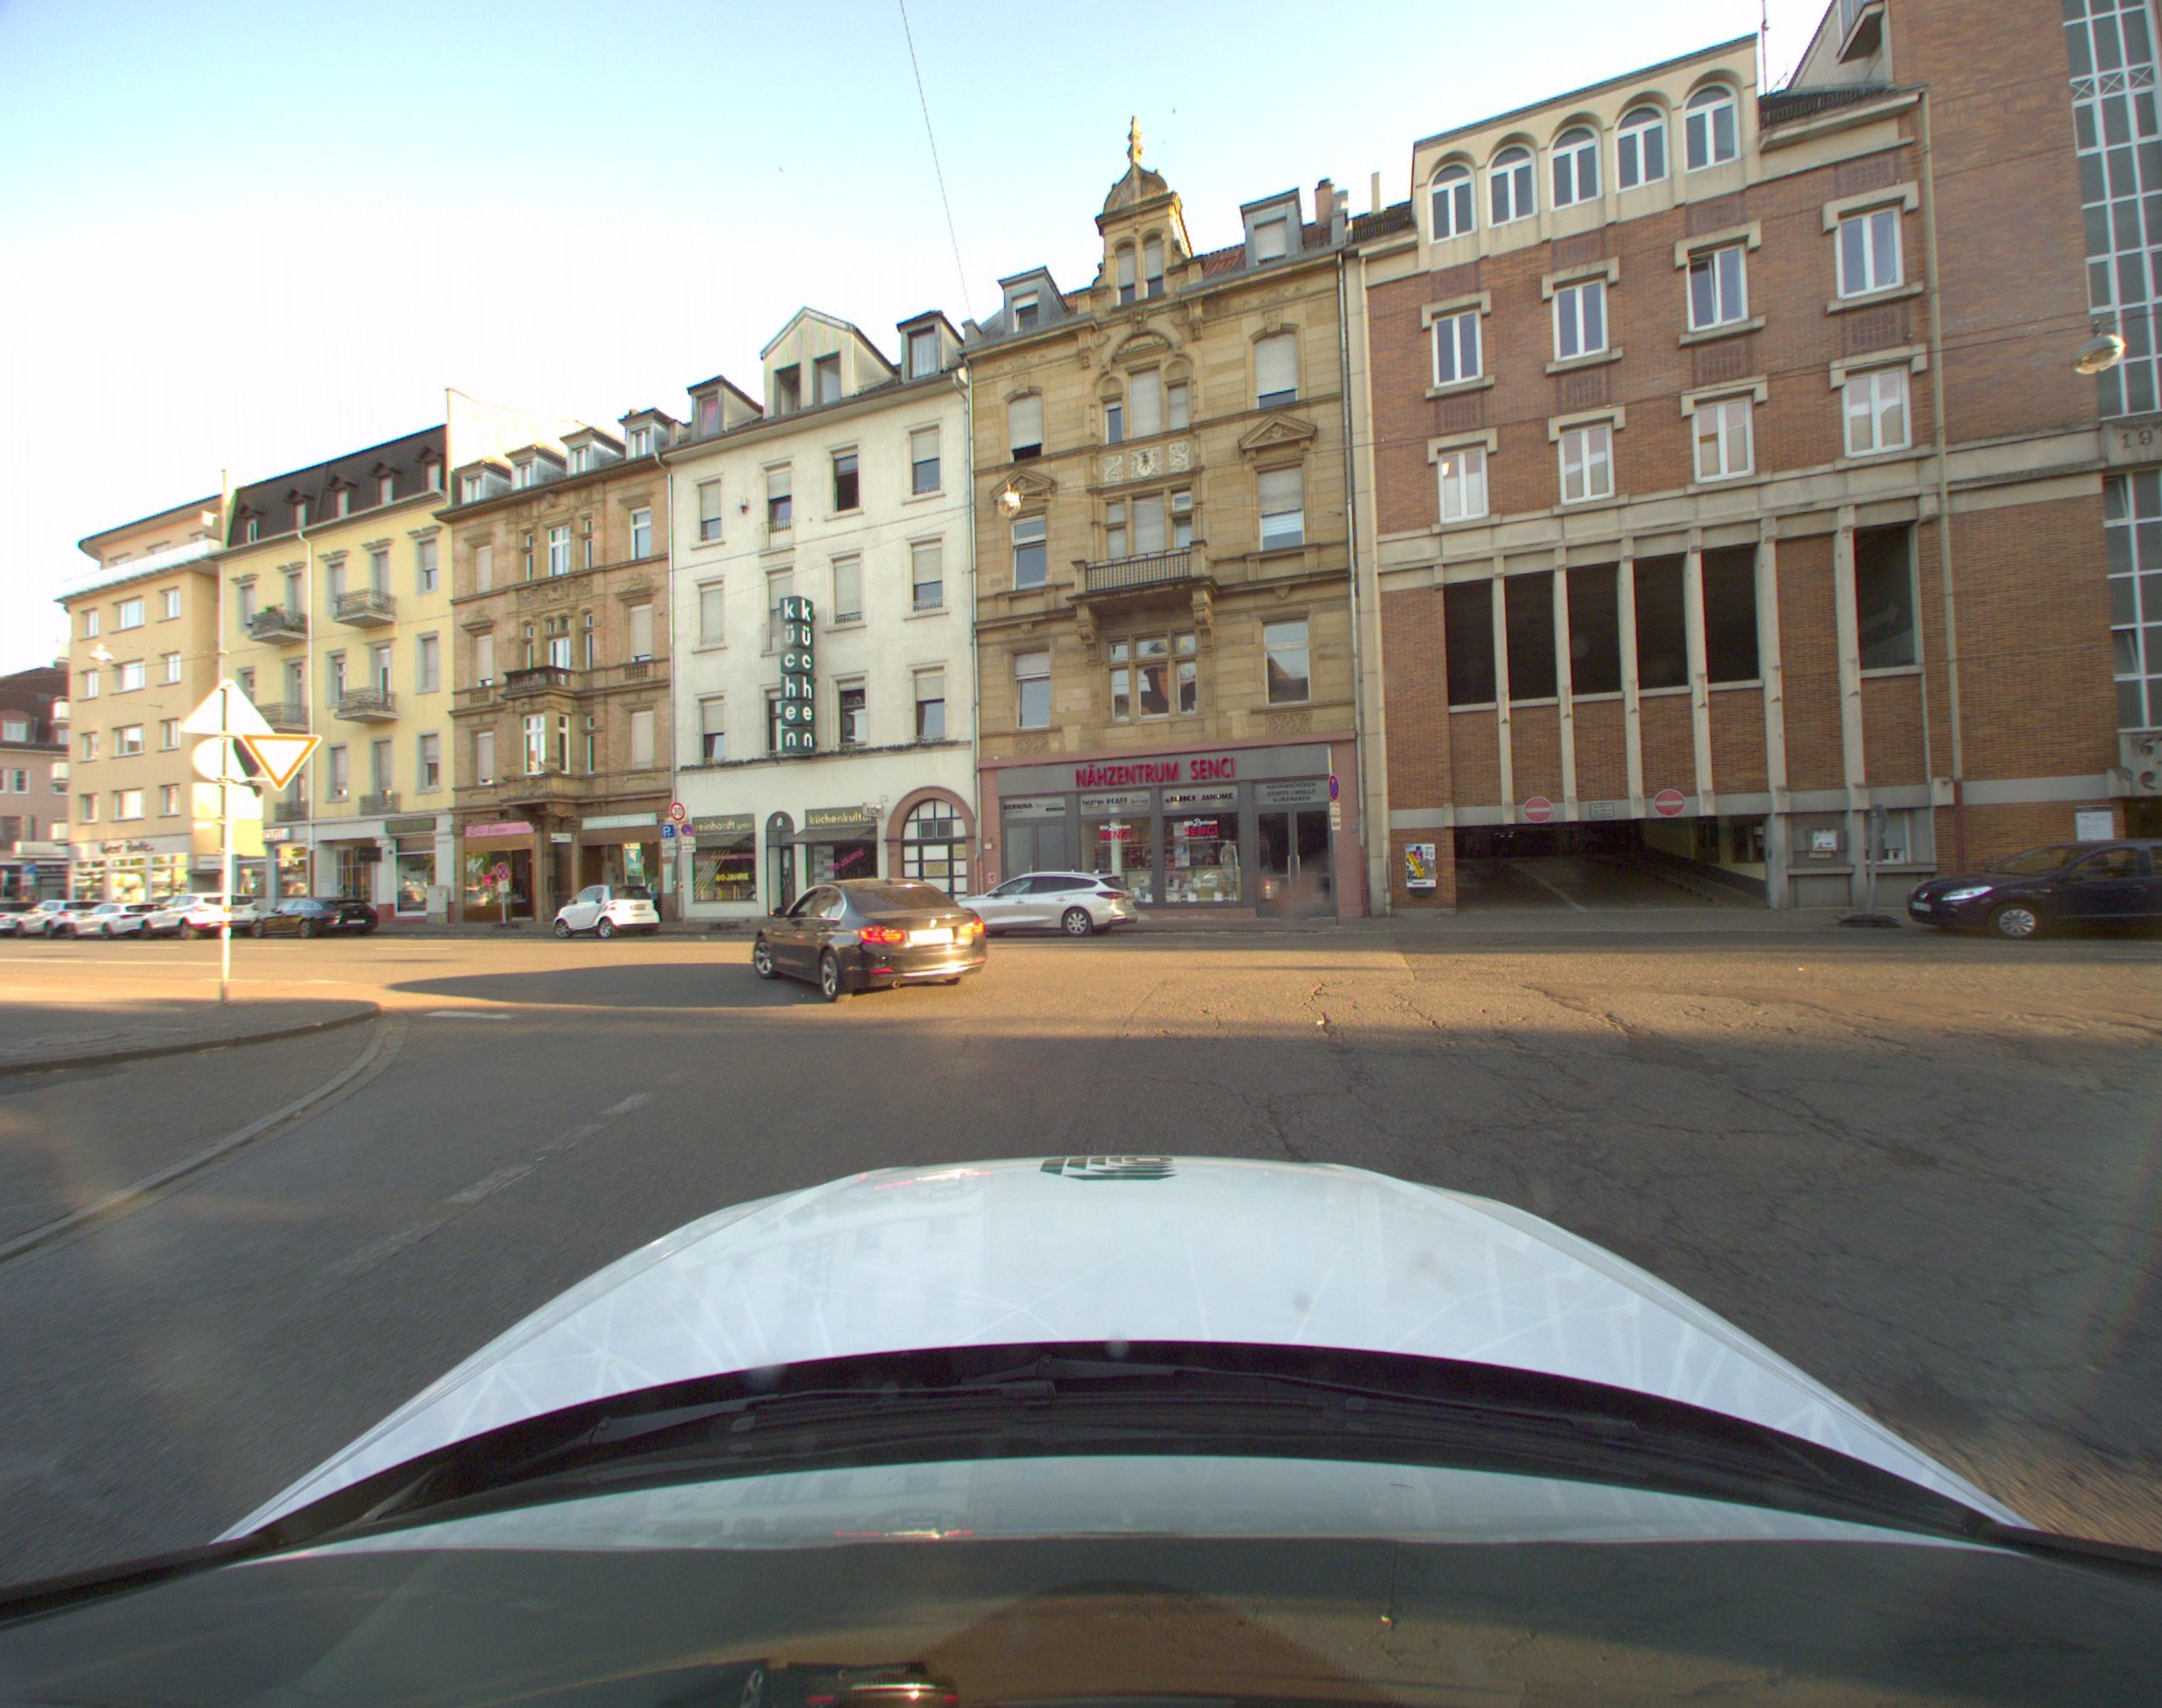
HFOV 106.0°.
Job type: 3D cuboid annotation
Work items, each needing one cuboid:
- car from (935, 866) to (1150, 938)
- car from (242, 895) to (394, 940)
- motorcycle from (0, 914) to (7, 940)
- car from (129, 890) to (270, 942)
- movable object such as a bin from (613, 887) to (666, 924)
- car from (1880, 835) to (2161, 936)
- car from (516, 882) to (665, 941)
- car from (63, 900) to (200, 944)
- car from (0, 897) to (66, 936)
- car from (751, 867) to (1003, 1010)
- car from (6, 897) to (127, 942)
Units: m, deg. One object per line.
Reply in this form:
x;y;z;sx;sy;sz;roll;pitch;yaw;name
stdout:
-0.882;1.074;19.152;4.628;1.535;2.010;-1;-1;19;car
-26.997;2.225;28.825;4.793;1.434;2.010;-2;-2;21;car
-53.427;3.610;39.257;0.708;1.263;1.827;-2;-1;19;motorcycle
-32.648;2.243;30.162;4.604;1.745;1.897;-1;-1;20;car
-15.015;1.753;27.689;1.382;1.186;0.873;-2;-2;20;movable object such as a bin
16.175;0.485;13.321;3.953;1.520;2.010;-2;0;21;car
-14.585;1.653;24.225;3.952;1.585;1.714;-1;-1;21;car
-37.923;2.651;32.524;4.811;1.543;2.033;-1;-1;21;car
-48.762;2.847;36.867;4.748;1.613;2.010;-2;-2;19;car
-2.906;0.988;10.885;1.903;1.492;4.158;0;-2;-35;car
-43.040;2.731;34.566;4.356;1.762;1.883;-1;-1;20;car
